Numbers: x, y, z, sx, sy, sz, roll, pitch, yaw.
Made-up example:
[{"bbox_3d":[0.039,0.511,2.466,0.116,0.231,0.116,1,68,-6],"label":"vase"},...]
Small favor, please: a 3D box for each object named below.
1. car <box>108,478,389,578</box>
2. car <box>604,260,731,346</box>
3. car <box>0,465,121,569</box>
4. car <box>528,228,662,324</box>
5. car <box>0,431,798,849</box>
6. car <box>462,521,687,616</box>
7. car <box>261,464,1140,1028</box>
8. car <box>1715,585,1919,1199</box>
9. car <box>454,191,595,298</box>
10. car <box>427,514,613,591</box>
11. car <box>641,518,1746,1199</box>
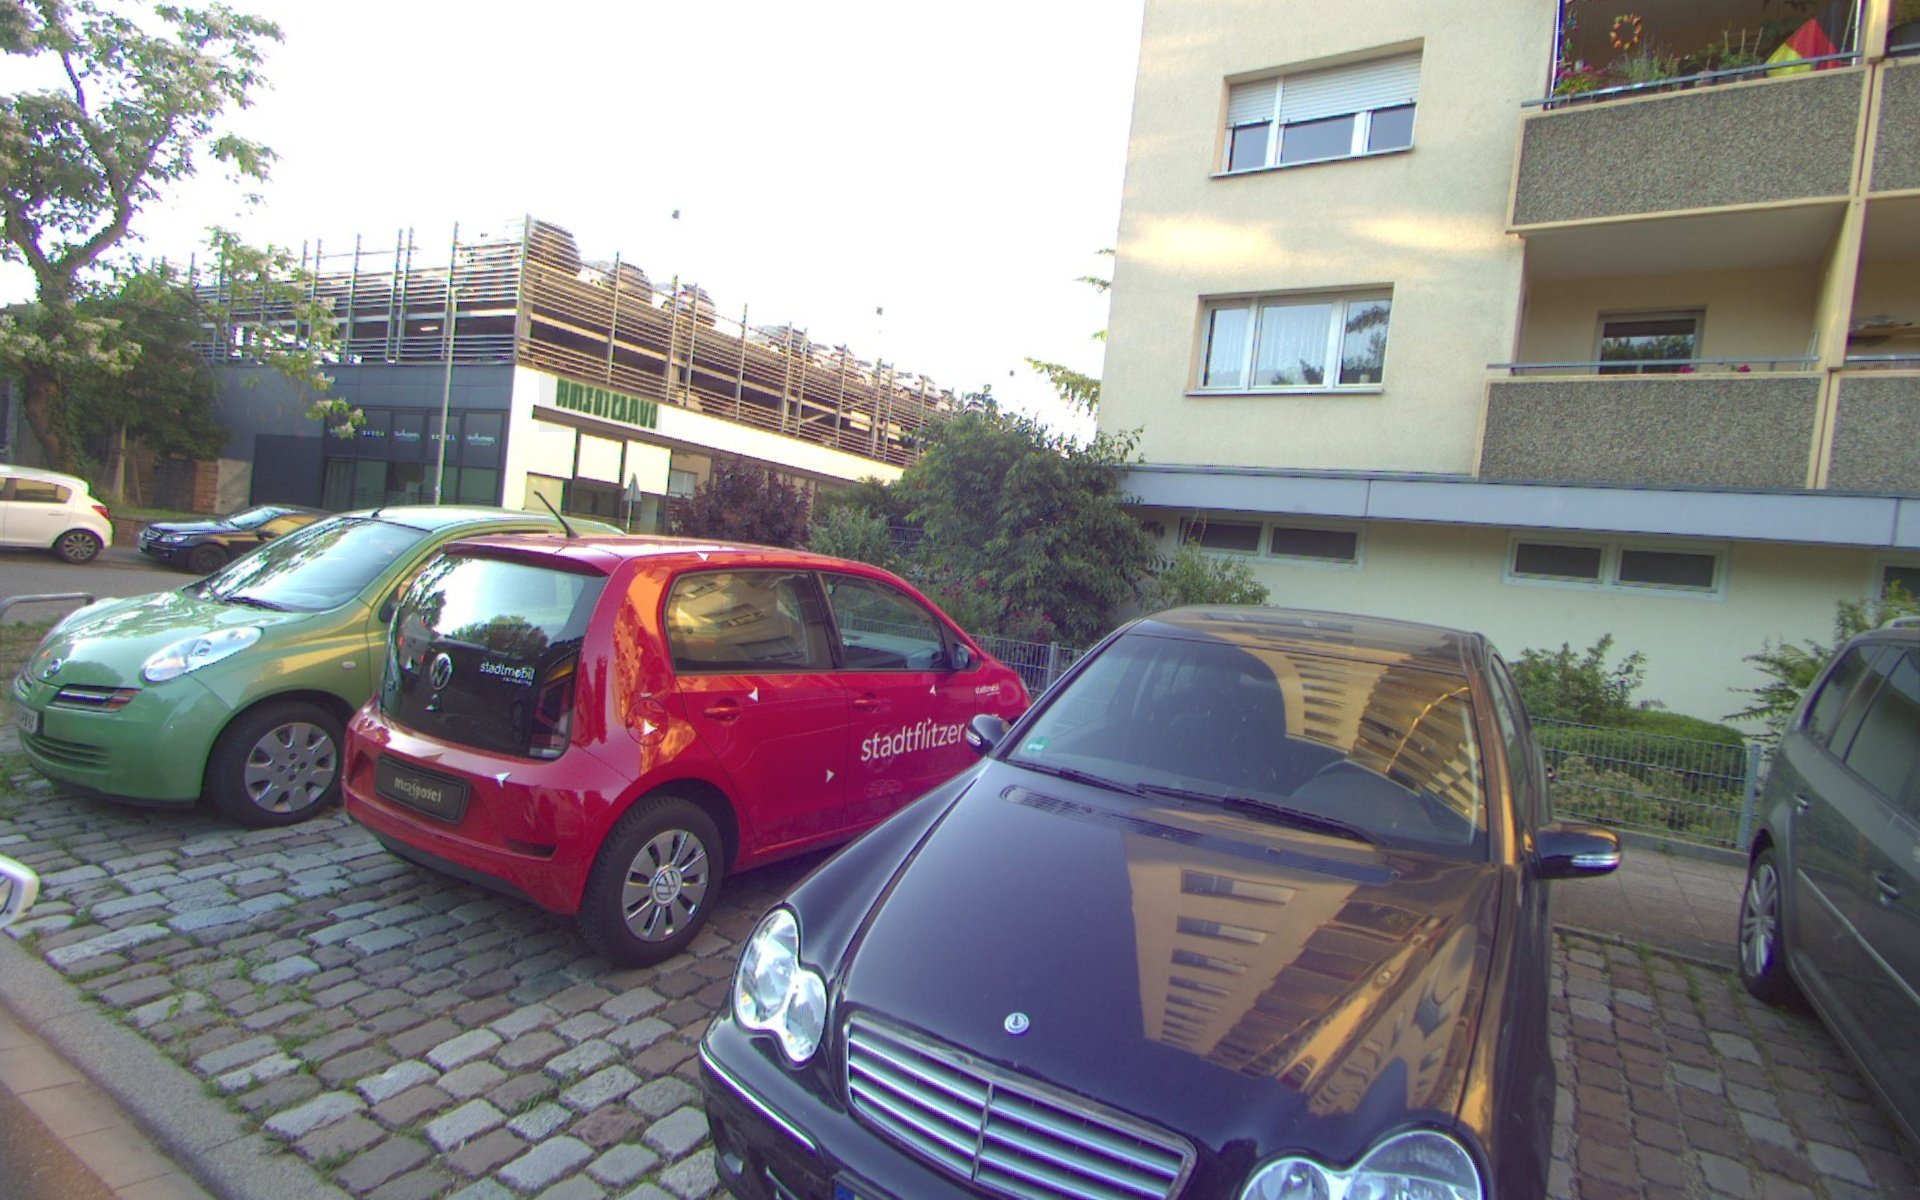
[{"bbox_3d":[-14.360,-1.407,20.548,1.794,1.523,4.290,7,2,35],"label":"car"},{"bbox_3d":[-10.042,-10.089,34.457,3.938,2.039,1.994,7,0,36],"label":"car"},{"bbox_3d":[-16.947,-1.568,16.896,1.924,1.593,3.861,8,1,28],"label":"car"},{"bbox_3d":[-11.730,-10.310,32.272,3.938,2.039,1.994,7,0,36],"label":"car"},{"bbox_3d":[-3.143,0.151,6.335,1.814,1.653,4.407,5,1,28],"label":"car"},{"bbox_3d":[-7.691,-0.582,20.353,1.794,1.544,3.835,7,2,35],"label":"car"},{"bbox_3d":[-0.818,0.352,5.337,1.815,1.655,4.398,7,5,32],"label":"car"},{"bbox_3d":[3.542,0.863,2.553,1.814,1.684,4.405,5,3,28],"label":"car"},{"bbox_3d":[-13.049,-10.512,30.065,3.938,2.039,1.994,7,0,36],"label":"car"},{"bbox_3d":[-10.940,-1.147,25.240,1.794,1.523,3.835,7,2,35],"label":"car"},{"bbox_3d":[1.178,0.713,3.680,1.814,1.551,4.407,5,1,28],"label":"car"}]
